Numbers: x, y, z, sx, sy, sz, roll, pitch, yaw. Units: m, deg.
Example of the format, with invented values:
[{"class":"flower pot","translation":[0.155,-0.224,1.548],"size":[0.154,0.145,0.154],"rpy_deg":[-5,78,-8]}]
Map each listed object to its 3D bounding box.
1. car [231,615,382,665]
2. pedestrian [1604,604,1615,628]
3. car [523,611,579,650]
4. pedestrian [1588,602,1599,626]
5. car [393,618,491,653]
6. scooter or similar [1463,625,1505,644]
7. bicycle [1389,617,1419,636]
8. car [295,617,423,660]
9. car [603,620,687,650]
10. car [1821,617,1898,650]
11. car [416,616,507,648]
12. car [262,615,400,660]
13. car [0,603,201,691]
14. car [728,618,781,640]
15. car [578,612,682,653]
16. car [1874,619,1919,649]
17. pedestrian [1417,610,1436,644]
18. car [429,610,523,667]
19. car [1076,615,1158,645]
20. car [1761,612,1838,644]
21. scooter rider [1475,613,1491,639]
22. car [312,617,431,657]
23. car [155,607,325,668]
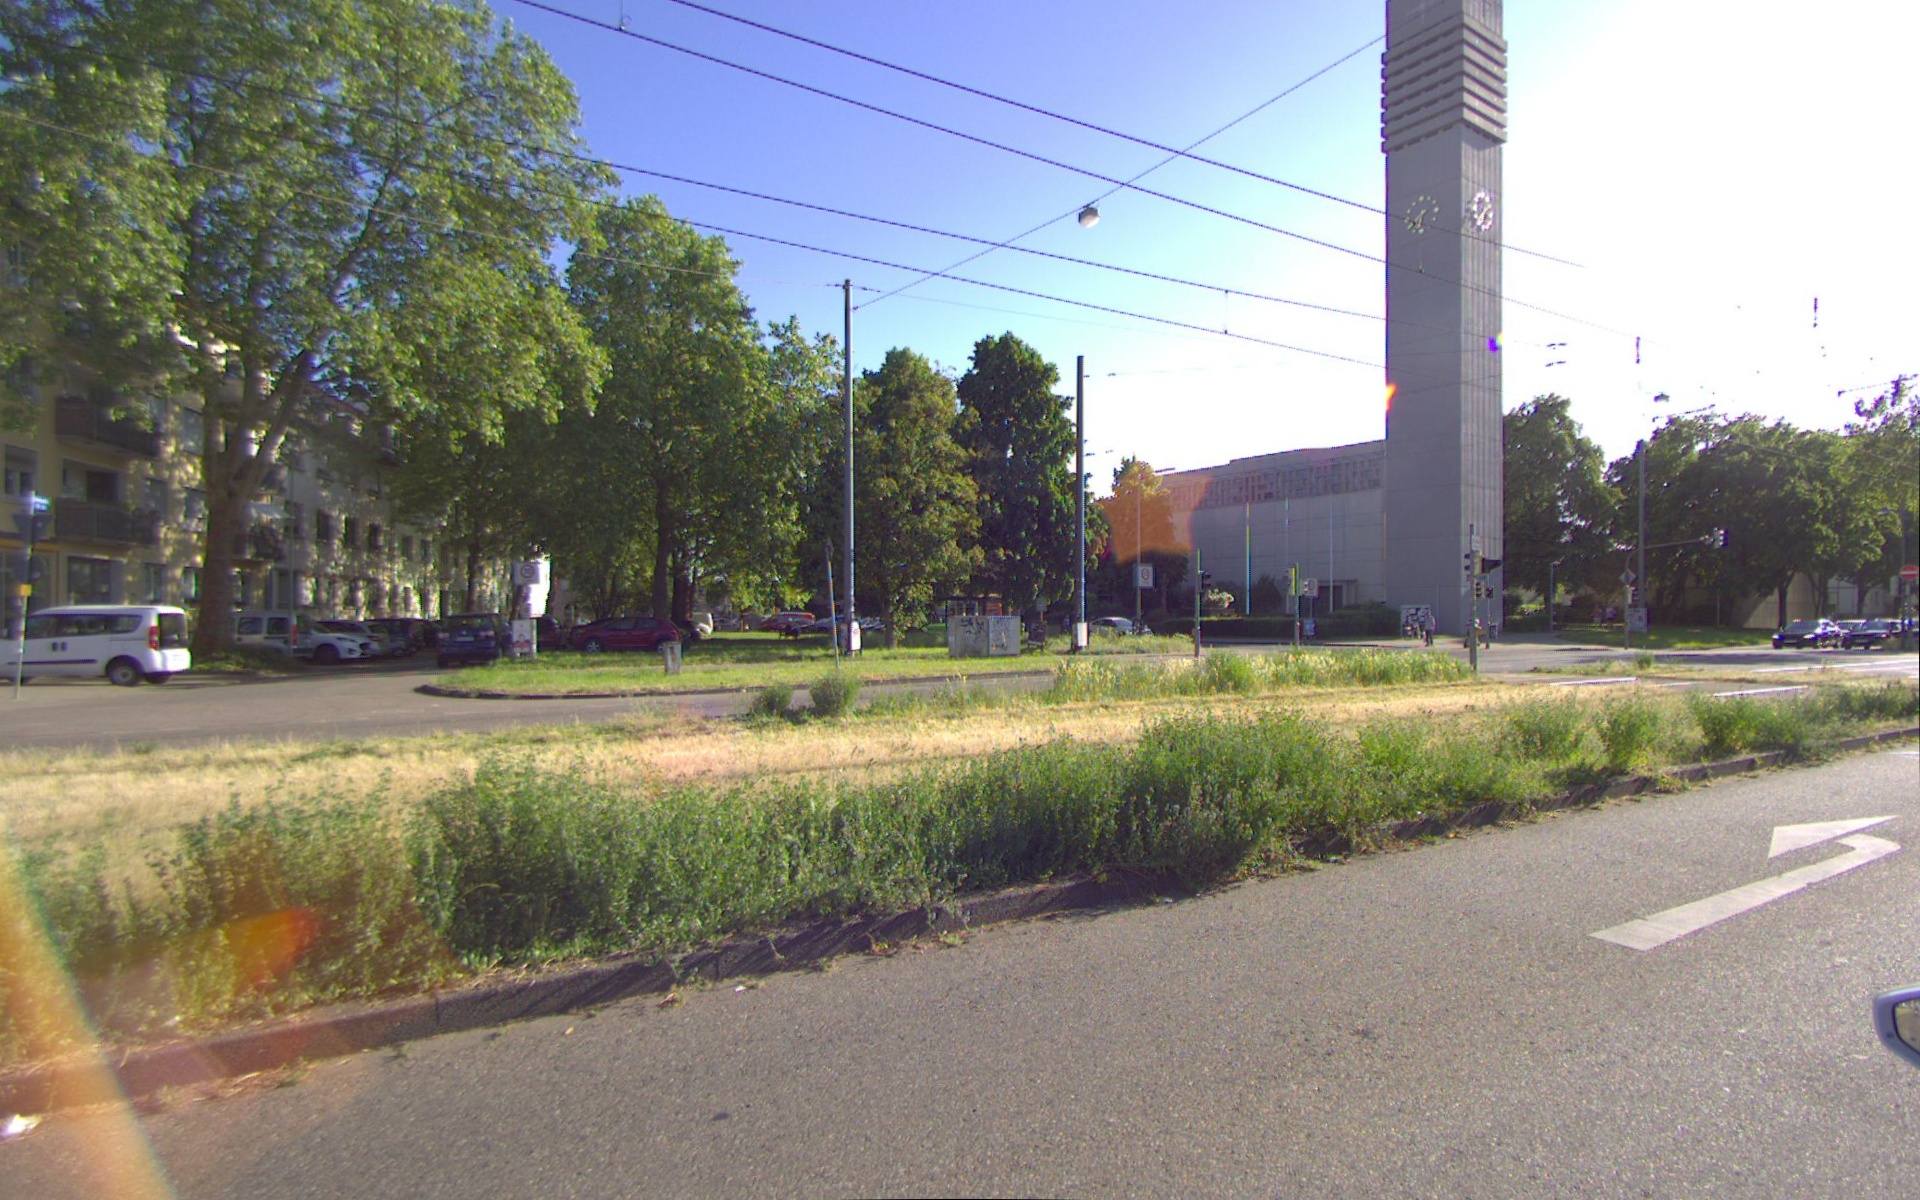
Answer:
[{"class":"car","translation":[-23.088,1.430,35.640],"size":[3.990,1.687,1.996],"rpy_deg":[1,-2,-12]},{"class":"pedestrian","translation":[42.124,1.009,65.166],"size":[0.483,1.527,0.432],"rpy_deg":[0,2,-36]},{"class":"car","translation":[-18.575,1.356,45.763],"size":[1.719,1.706,3.990],"rpy_deg":[-1,-1,-13]},{"class":"pedestrian","translation":[41.550,0.932,65.887],"size":[0.302,1.581,0.432],"rpy_deg":[0,2,-35]},{"class":"car","translation":[-26.117,1.819,50.780],"size":[3.990,1.687,1.996],"rpy_deg":[1,-2,-12]},{"class":"scooter or similar","translation":[25.347,1.667,48.615],"size":[1.716,0.911,0.560],"rpy_deg":[-1,-1,43]},{"class":"bicycle","translation":[24.782,1.479,56.068],"size":[1.660,1.060,0.489],"rpy_deg":[1,2,-25]},{"class":"car","translation":[-24.011,1.564,40.289],"size":[3.930,1.635,1.878],"rpy_deg":[1,-3,-12]},{"class":"car","translation":[-15.682,1.710,50.149],"size":[3.934,1.400,1.580],"rpy_deg":[0,0,-16]},{"class":"car","translation":[43.923,1.599,49.024],"size":[4.312,1.553,1.678],"rpy_deg":[0,-1,-32]},{"class":"car","translation":[-27.046,1.750,54.625],"size":[3.990,1.687,1.996],"rpy_deg":[1,-2,-12]},{"class":"car","translation":[-23.682,1.434,37.965],"size":[3.930,1.590,1.878],"rpy_deg":[1,-3,-12]},{"class":"car","translation":[-20.364,1.052,23.311],"size":[3.936,1.851,1.992],"rpy_deg":[1,2,-18]},{"class":"car","translation":[-16.940,2.389,82.893],"size":[3.955,1.795,1.658],"rpy_deg":[0,-1,-32]},{"class":"car","translation":[-12.430,1.225,38.008],"size":[3.587,1.399,1.641],"rpy_deg":[1,2,-14]},{"class":"car","translation":[49.528,1.745,52.527],"size":[3.871,1.421,1.557],"rpy_deg":[0,2,-32]},{"class":"pedestrian","translation":[23.358,1.355,50.300],"size":[0.735,1.689,0.442],"rpy_deg":[1,2,-22]},{"class":"car","translation":[-14.725,1.122,30.773],"size":[1.719,1.622,3.990],"rpy_deg":[-1,-1,-13]},{"class":"car","translation":[9.090,1.706,58.517],"size":[1.981,1.420,4.668],"rpy_deg":[0,2,-37]},{"class":"car","translation":[42.870,1.399,51.269],"size":[4.312,1.553,1.797],"rpy_deg":[0,-1,-32]},{"class":"scooter rider","translation":[25.325,1.265,48.645],"size":[0.520,1.234,0.584],"rpy_deg":[3,2,42]},{"class":"car","translation":[-25.041,1.584,42.853],"size":[3.930,1.635,1.878],"rpy_deg":[1,-3,-12]},{"class":"car","translation":[-23.200,1.242,32.522],"size":[3.930,1.867,1.996],"rpy_deg":[1,-3,-12]}]
